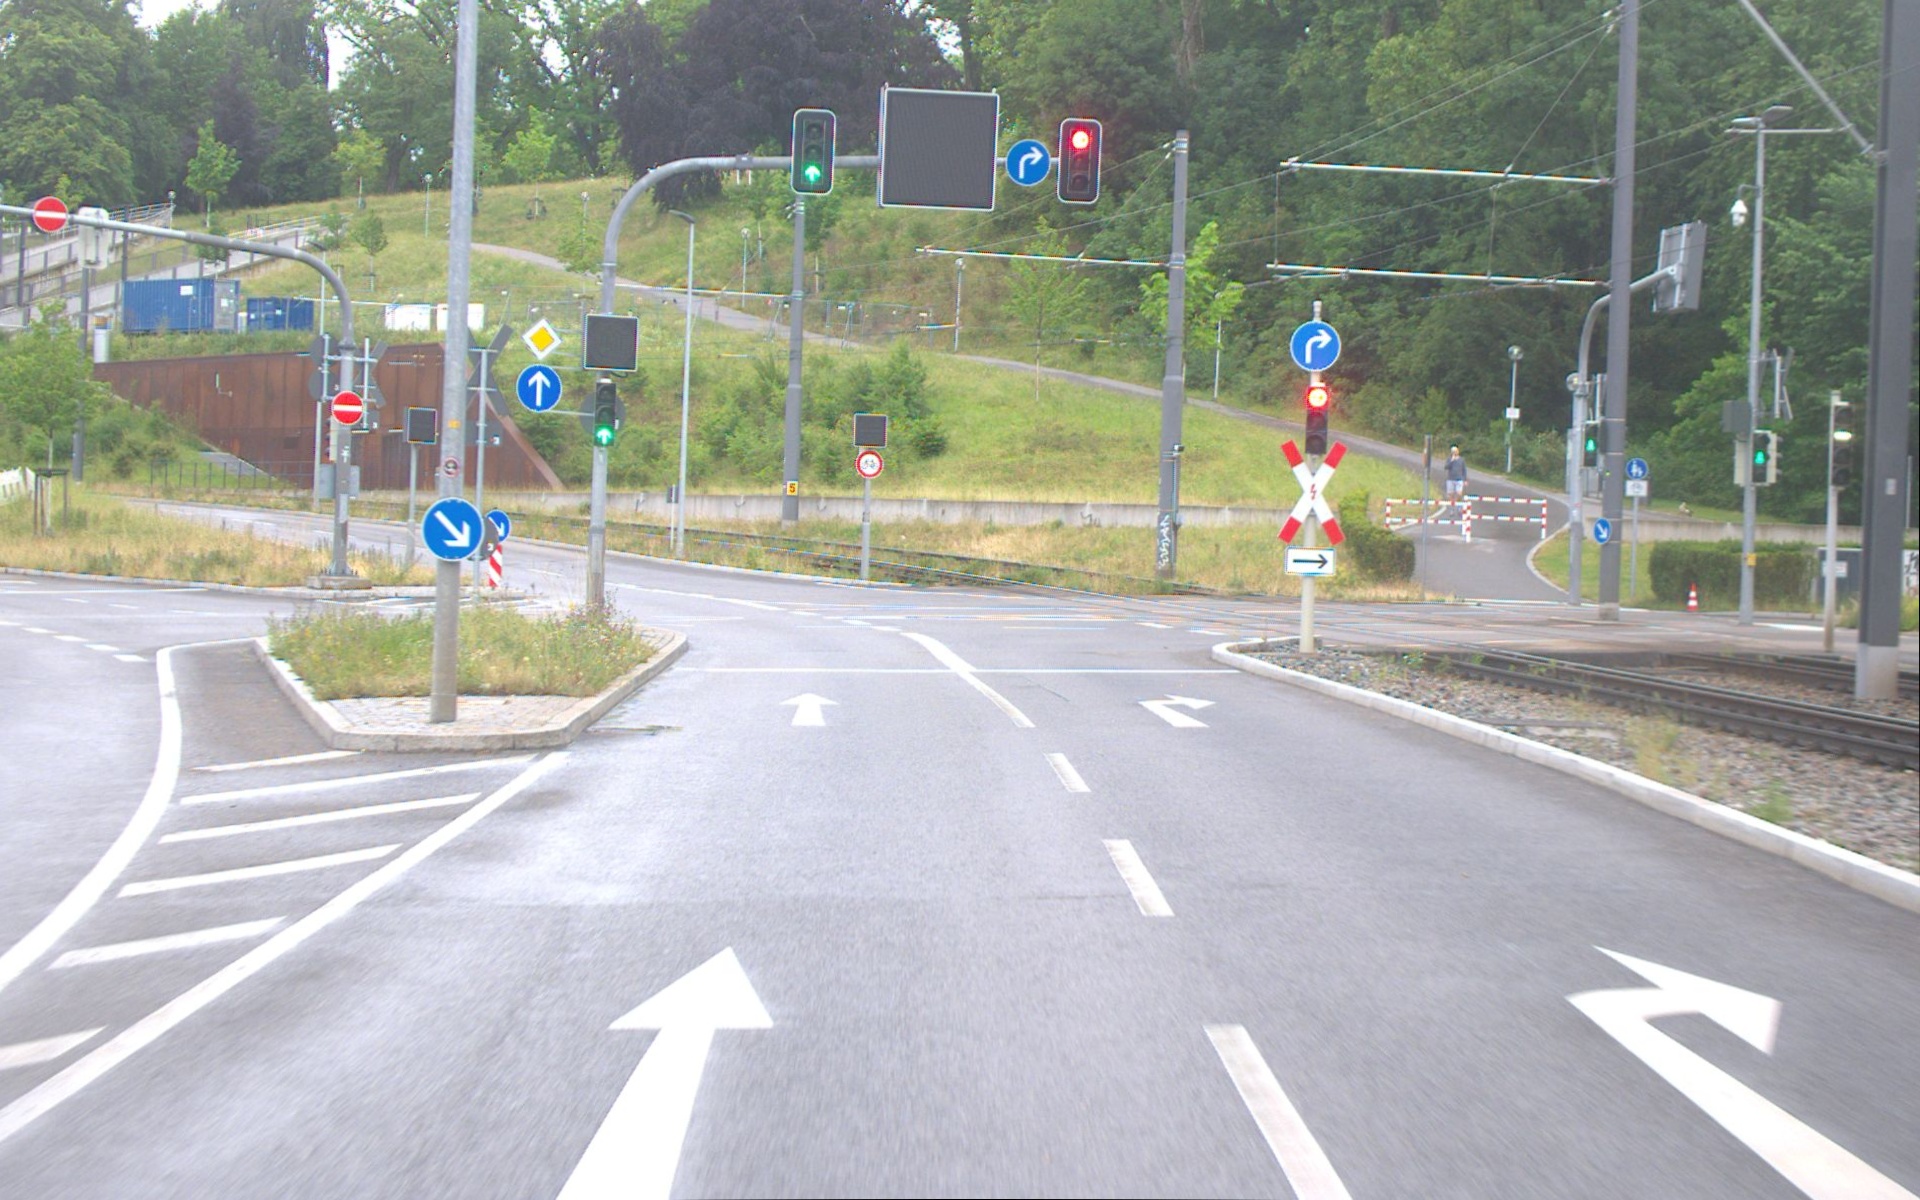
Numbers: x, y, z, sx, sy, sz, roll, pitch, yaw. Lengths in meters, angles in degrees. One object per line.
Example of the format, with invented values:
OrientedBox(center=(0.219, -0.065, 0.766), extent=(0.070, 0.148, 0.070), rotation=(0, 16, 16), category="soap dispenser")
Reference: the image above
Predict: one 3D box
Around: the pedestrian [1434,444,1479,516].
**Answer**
OrientedBox(center=(12.824, -3.101, 88.757), extent=(0.958, 1.775, 1.122), rotation=(4, 2, 11), category="pedestrian")

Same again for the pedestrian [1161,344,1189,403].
OrientedBox(center=(7.496, -7.916, 119.899), extent=(0.788, 2.006, 0.657), rotation=(-2, 7, -16), category="pedestrian")
